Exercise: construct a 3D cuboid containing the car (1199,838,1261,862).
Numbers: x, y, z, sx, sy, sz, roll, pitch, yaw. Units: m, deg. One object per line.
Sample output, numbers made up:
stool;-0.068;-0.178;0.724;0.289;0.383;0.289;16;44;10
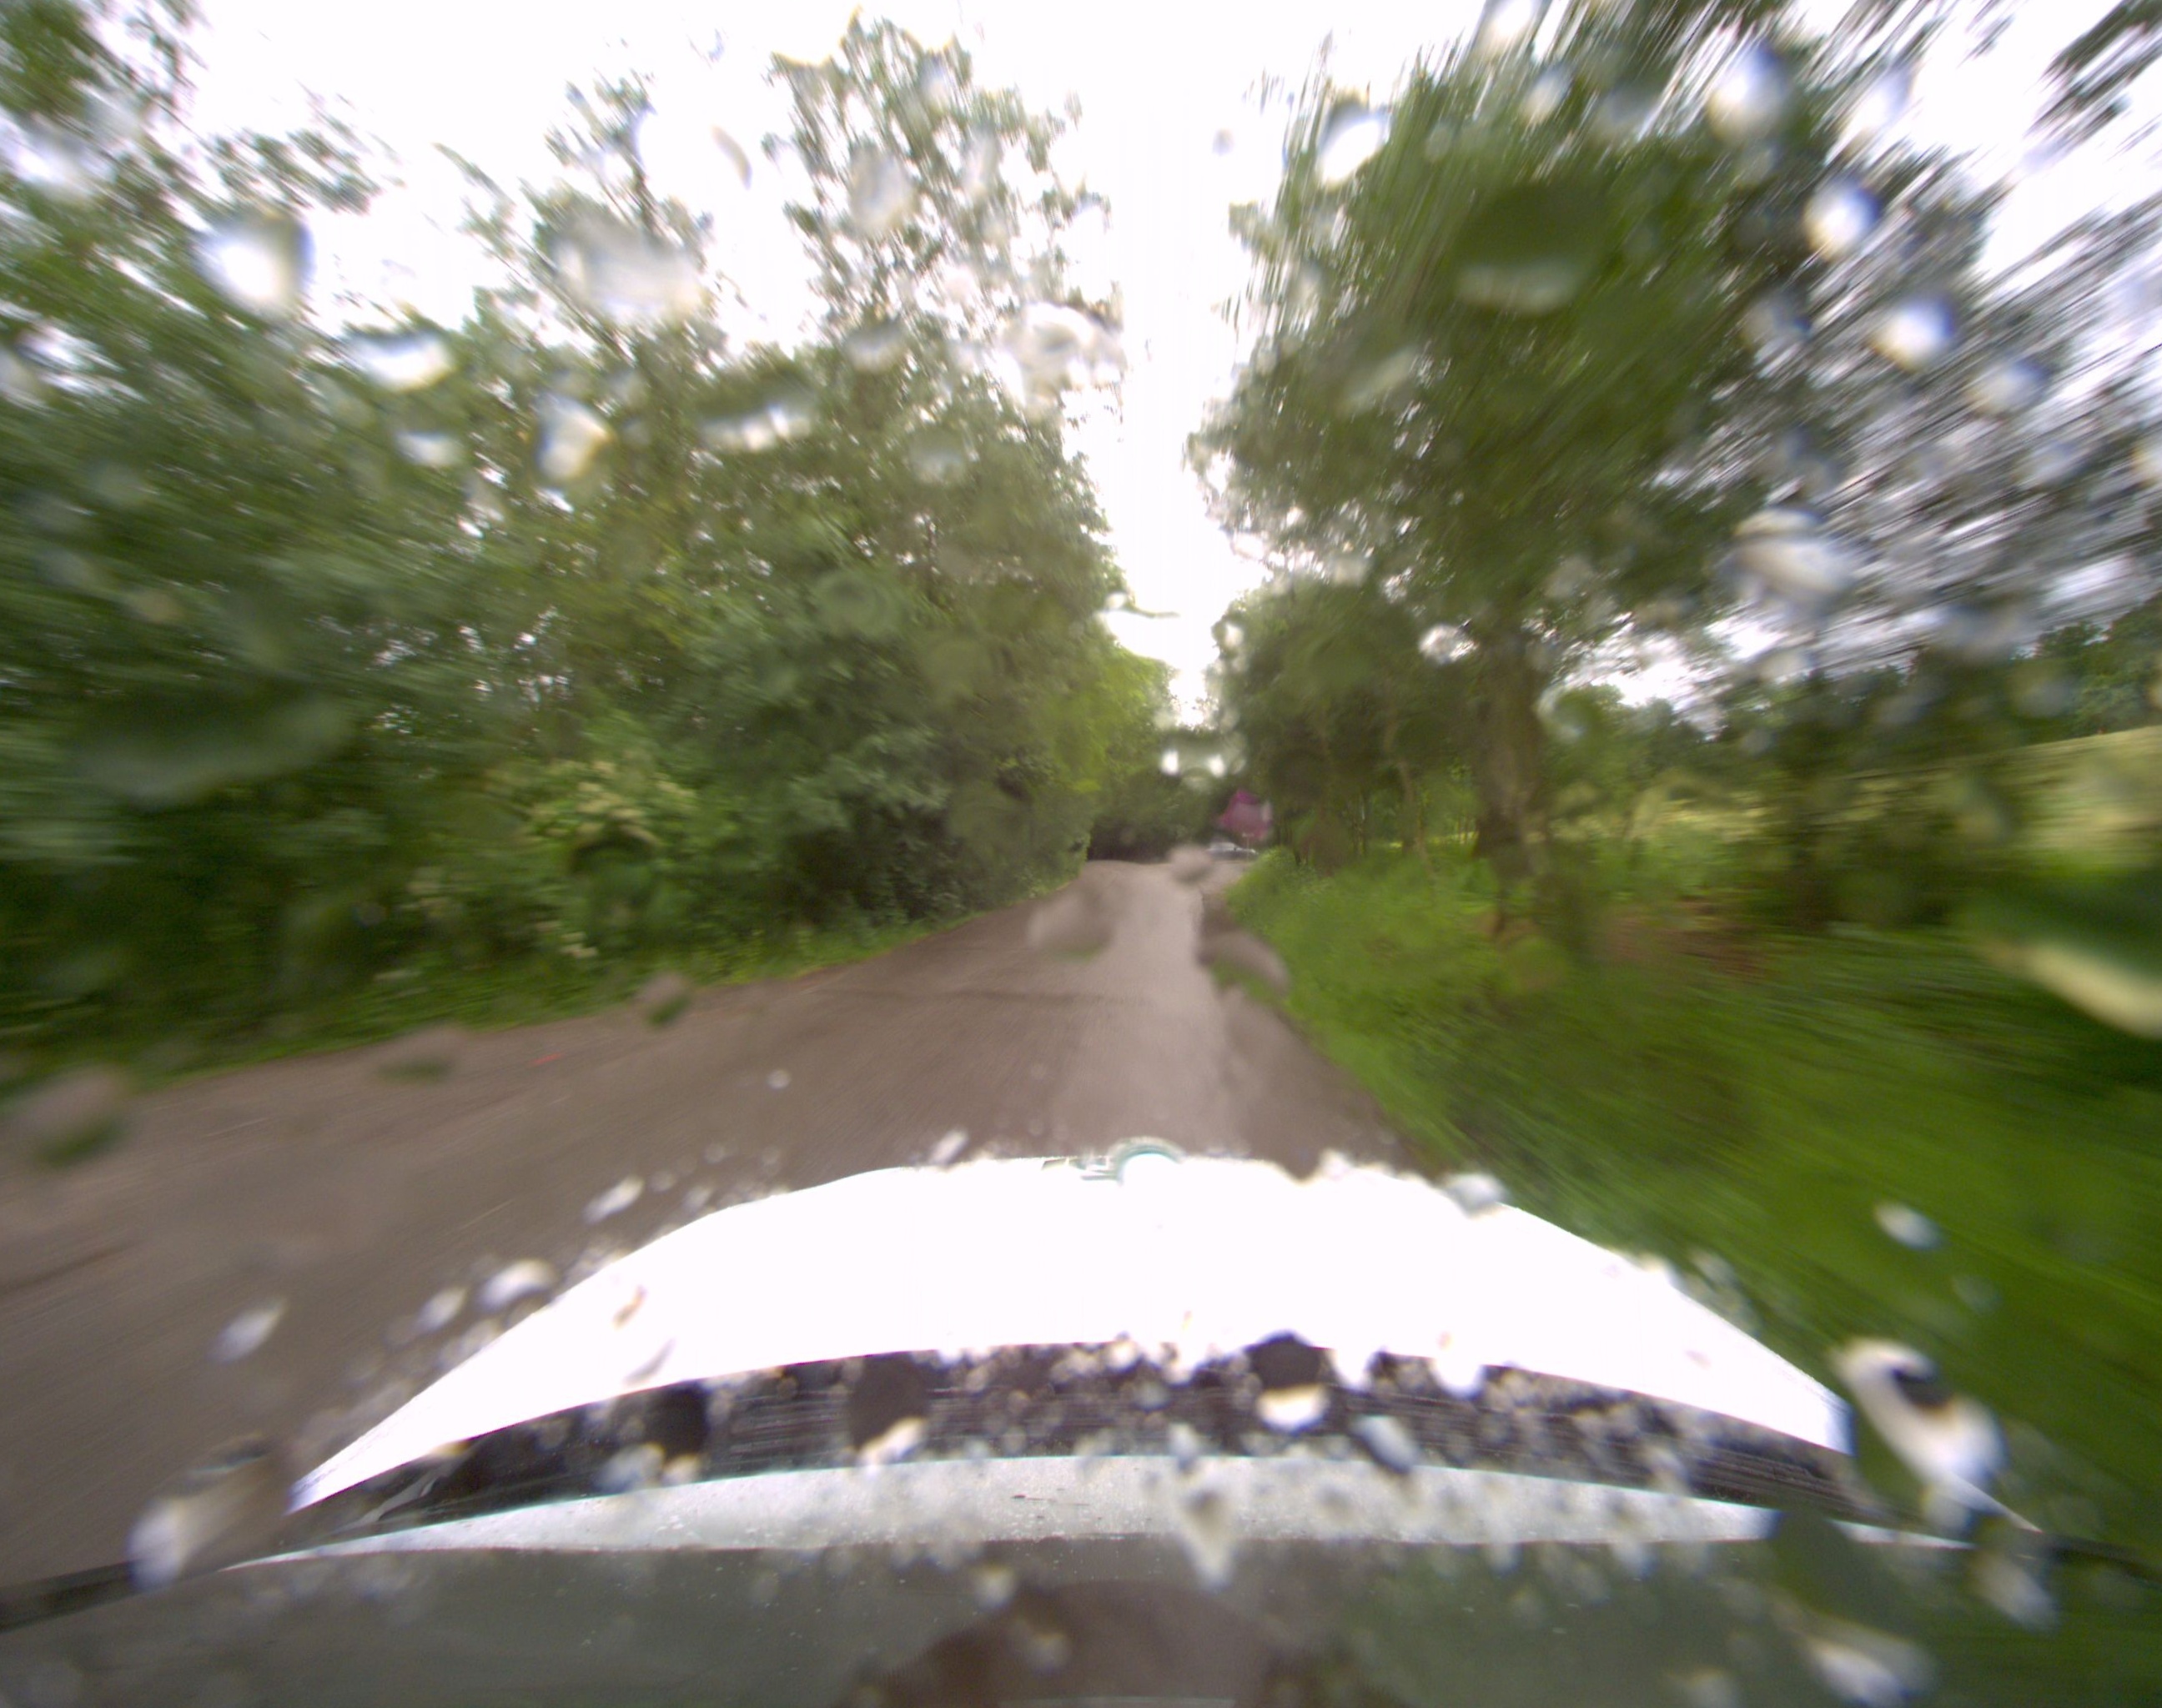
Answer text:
car;10.238;-0.299;56.119;3.968;1.390;2.003;-4;0;5
